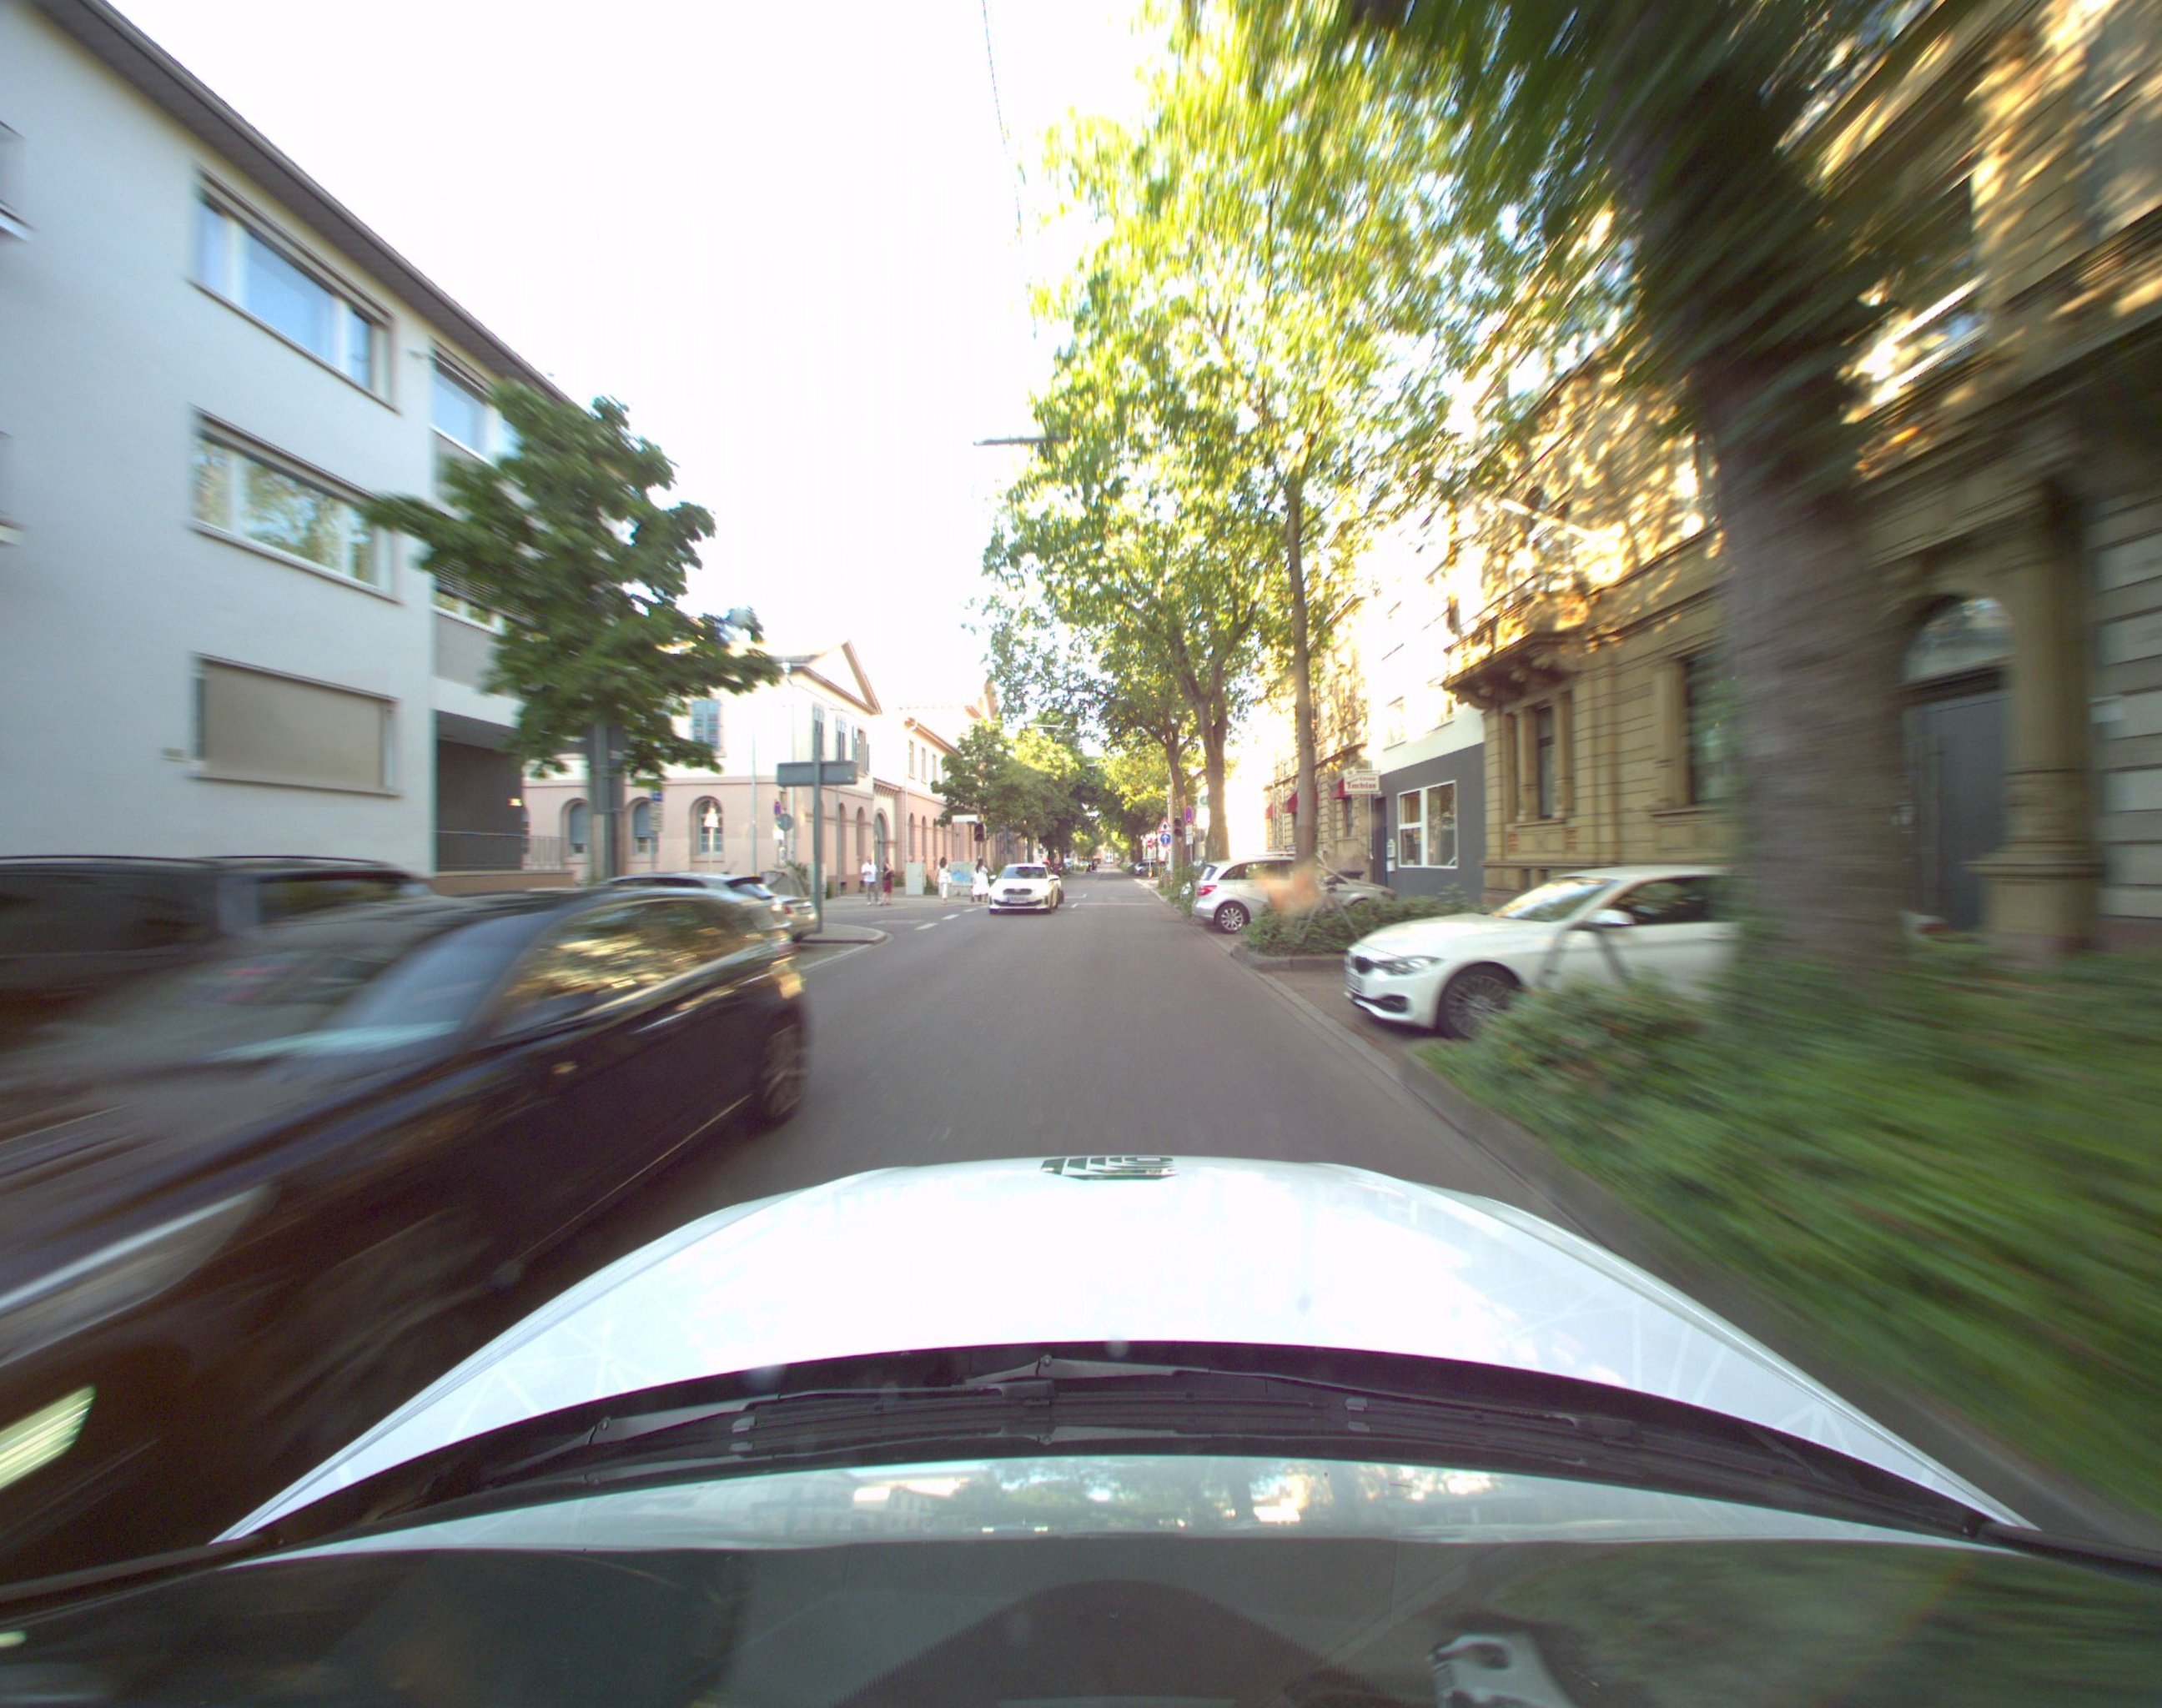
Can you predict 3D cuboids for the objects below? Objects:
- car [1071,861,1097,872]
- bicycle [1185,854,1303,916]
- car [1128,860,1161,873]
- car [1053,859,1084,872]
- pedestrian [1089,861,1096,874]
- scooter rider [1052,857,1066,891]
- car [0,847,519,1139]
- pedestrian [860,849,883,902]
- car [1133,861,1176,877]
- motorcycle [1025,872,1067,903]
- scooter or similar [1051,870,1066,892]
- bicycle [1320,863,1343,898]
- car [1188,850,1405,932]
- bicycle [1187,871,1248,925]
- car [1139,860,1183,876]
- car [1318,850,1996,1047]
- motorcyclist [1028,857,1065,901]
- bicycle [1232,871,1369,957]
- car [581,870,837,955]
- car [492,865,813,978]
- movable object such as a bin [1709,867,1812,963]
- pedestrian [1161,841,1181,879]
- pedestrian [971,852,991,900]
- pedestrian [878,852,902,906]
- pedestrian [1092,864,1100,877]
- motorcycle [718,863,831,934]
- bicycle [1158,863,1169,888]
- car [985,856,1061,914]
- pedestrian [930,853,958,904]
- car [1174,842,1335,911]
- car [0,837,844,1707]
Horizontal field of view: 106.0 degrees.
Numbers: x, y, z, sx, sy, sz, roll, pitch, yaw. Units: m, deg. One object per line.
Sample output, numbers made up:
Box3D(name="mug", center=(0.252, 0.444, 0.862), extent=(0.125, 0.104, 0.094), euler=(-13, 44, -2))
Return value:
Box3D(name="car", center=(0.549, 2.464, 163.240), extent=(5.042, 2.083, 2.265), euler=(-1, -1, 3))
Box3D(name="bicycle", center=(4.439, 0.847, 22.261), extent=(3.105, 1.663, 0.658), euler=(0, -1, -3))
Box3D(name="car", center=(8.139, 1.585, 104.626), extent=(4.000, 1.623, 1.781), euler=(-1, -1, 0))
Box3D(name="car", center=(-2.074, 1.938, 137.854), extent=(5.045, 2.083, 2.264), euler=(-1, -1, 1))
Box3D(name="pedestrian", center=(1.458, 1.679, 104.763), extent=(0.870, 1.650, 0.656), euler=(0, -1, 9))
Box3D(name="scooter rider", center=(-1.190, 1.059, 43.819), extent=(0.491, 1.791, 0.877), euler=(-1, -2, 12))
Box3D(name="car", center=(-6.598, 0.784, 5.629), extent=(4.076, 1.632, 1.937), euler=(0, -1, 3))
Box3D(name="pedestrian", center=(-7.368, 0.749, 28.627), extent=(0.550, 1.850, 0.614), euler=(0, -1, 16))
Box3D(name="car", center=(7.523, 1.536, 83.646), extent=(4.176, 1.480, 1.853), euler=(-2, -1, 2))
Box3D(name="motorcycle", center=(-1.263, 1.224, 30.012), extent=(1.307, 1.090, 2.397), euler=(-1, -2, 2))
Box3D(name="scooter or similar", center=(-1.187, 1.425, 43.776), extent=(0.498, 1.145, 1.254), euler=(-1, -2, 12))
Box3D(name="bicycle", center=(9.163, 0.958, 29.810), extent=(0.383, 1.211, 1.727), euler=(-1, -1, 4))
Box3D(name="car", center=(4.468, 0.750, 17.486), extent=(4.204, 1.560, 1.973), euler=(-2, 0, 5))
Box3D(name="bicycle", center=(3.229, 1.040, 19.347), extent=(1.332, 1.204, 0.488), euler=(-2, -1, 1))
Box3D(name="car", center=(7.669, 1.333, 78.580), extent=(4.093, 1.490, 1.850), euler=(-1, 0, 0))
Box3D(name="car", center=(4.630, 0.739, 7.194), extent=(4.563, 1.437, 1.927), euler=(-1, 0, 3))
Box3D(name="motorcyclist", center=(-1.262, 0.917, 30.179), extent=(1.275, 1.592, 1.078), euler=(-1, -1, 2))
Box3D(name="bicycle", center=(3.428, 0.918, 12.746), extent=(2.020, 1.204, 0.486), euler=(-3, -1, -11))
Box3D(name="car", center=(-6.591, 0.996, 14.688), extent=(3.721, 1.311, 1.847), euler=(1, -1, 6))
Box3D(name="car", center=(-6.131, 0.925, 11.971), extent=(3.728, 1.458, 1.735), euler=(1, -1, 1))
Box3D(name="movable object such as a bin", center=(7.995, 0.703, 9.606), extent=(0.655, 1.064, 0.615), euler=(-2, -2, 2))
Box3D(name="pedestrian", center=(5.202, 0.358, 47.176), extent=(1.039, 2.146, 1.064), euler=(0, -1, 2))
Box3D(name="pedestrian", center=(-4.000, 0.877, 32.573), extent=(0.768, 1.888, 0.790), euler=(-1, -1, -10))
Box3D(name="pedestrian", center=(-6.690, 0.858, 28.472), extent=(0.550, 1.850, 0.614), euler=(-1, 1, 16))
Box3D(name="pedestrian", center=(1.964, 2.120, 105.414), extent=(0.870, 1.650, 0.656), euler=(0, -1, 9))
Box3D(name="motorcycle", center=(-6.450, 0.926, 17.142), extent=(2.129, 1.419, 0.973), euler=(-2, -1, 23))
Box3D(name="bicycle", center=(4.672, 1.192, 46.284), extent=(0.413, 1.372, 1.293), euler=(-2, -1, 13))
Box3D(name="car", center=(-1.642, 0.864, 24.560), extent=(1.870, 1.549, 4.275), euler=(-2, -1, 1))
Box3D(name="pedestrian", center=(-4.990, 0.873, 29.716), extent=(0.787, 1.791, 0.772), euler=(2, 0, 5))
Box3D(name="car", center=(5.249, 0.684, 25.084), extent=(4.526, 1.915, 1.950), euler=(-2, -1, -1))
Box3D(name="car", center=(-2.691, 0.788, 3.577), extent=(1.870, 1.549, 4.277), euler=(-2, -1, 2))
